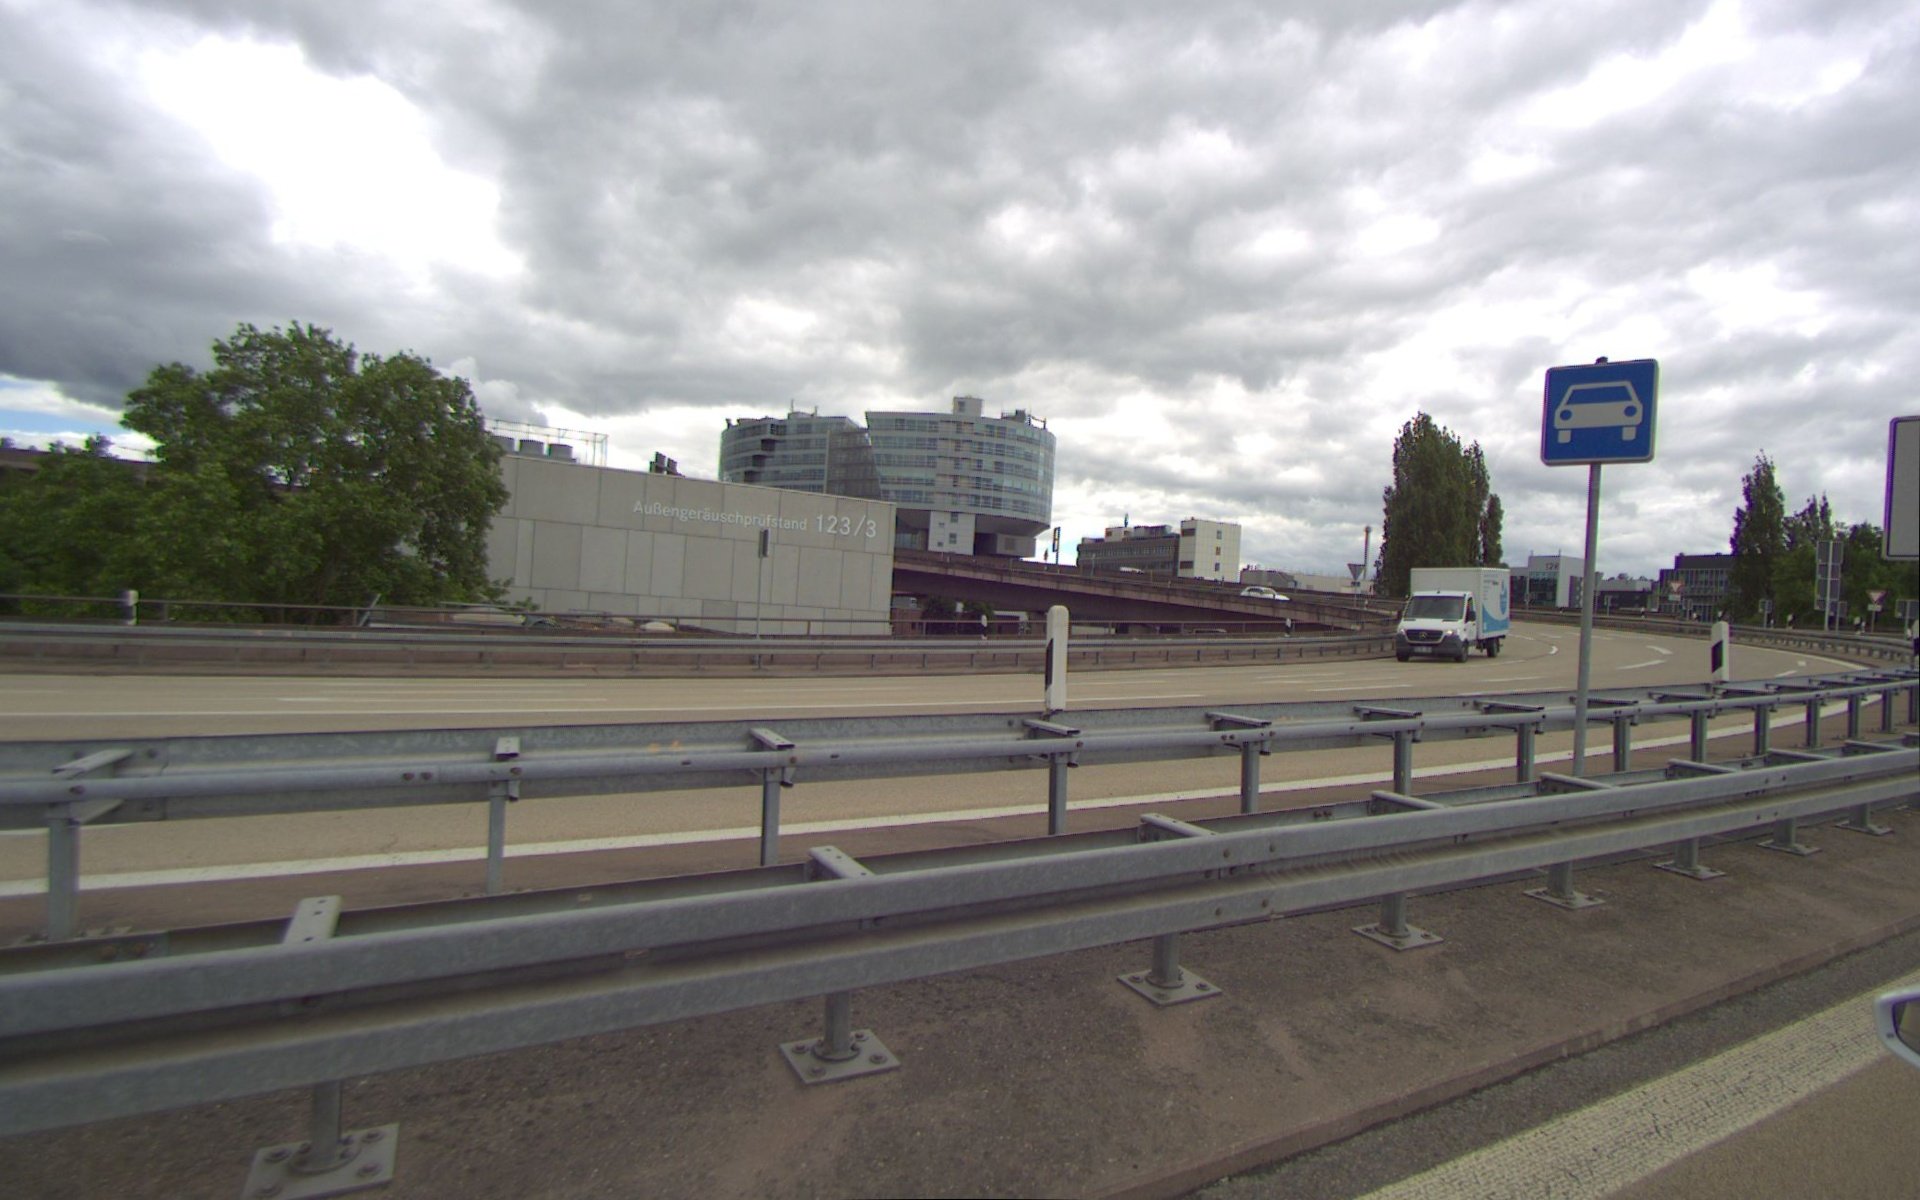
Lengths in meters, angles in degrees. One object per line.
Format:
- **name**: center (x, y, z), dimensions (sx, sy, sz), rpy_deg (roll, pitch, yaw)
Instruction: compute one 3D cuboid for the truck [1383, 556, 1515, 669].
- **truck**: center (16.345, 0.260, 33.316), dimensions (2.316, 3.308, 6.963), rpy_deg (4, 4, 39)
